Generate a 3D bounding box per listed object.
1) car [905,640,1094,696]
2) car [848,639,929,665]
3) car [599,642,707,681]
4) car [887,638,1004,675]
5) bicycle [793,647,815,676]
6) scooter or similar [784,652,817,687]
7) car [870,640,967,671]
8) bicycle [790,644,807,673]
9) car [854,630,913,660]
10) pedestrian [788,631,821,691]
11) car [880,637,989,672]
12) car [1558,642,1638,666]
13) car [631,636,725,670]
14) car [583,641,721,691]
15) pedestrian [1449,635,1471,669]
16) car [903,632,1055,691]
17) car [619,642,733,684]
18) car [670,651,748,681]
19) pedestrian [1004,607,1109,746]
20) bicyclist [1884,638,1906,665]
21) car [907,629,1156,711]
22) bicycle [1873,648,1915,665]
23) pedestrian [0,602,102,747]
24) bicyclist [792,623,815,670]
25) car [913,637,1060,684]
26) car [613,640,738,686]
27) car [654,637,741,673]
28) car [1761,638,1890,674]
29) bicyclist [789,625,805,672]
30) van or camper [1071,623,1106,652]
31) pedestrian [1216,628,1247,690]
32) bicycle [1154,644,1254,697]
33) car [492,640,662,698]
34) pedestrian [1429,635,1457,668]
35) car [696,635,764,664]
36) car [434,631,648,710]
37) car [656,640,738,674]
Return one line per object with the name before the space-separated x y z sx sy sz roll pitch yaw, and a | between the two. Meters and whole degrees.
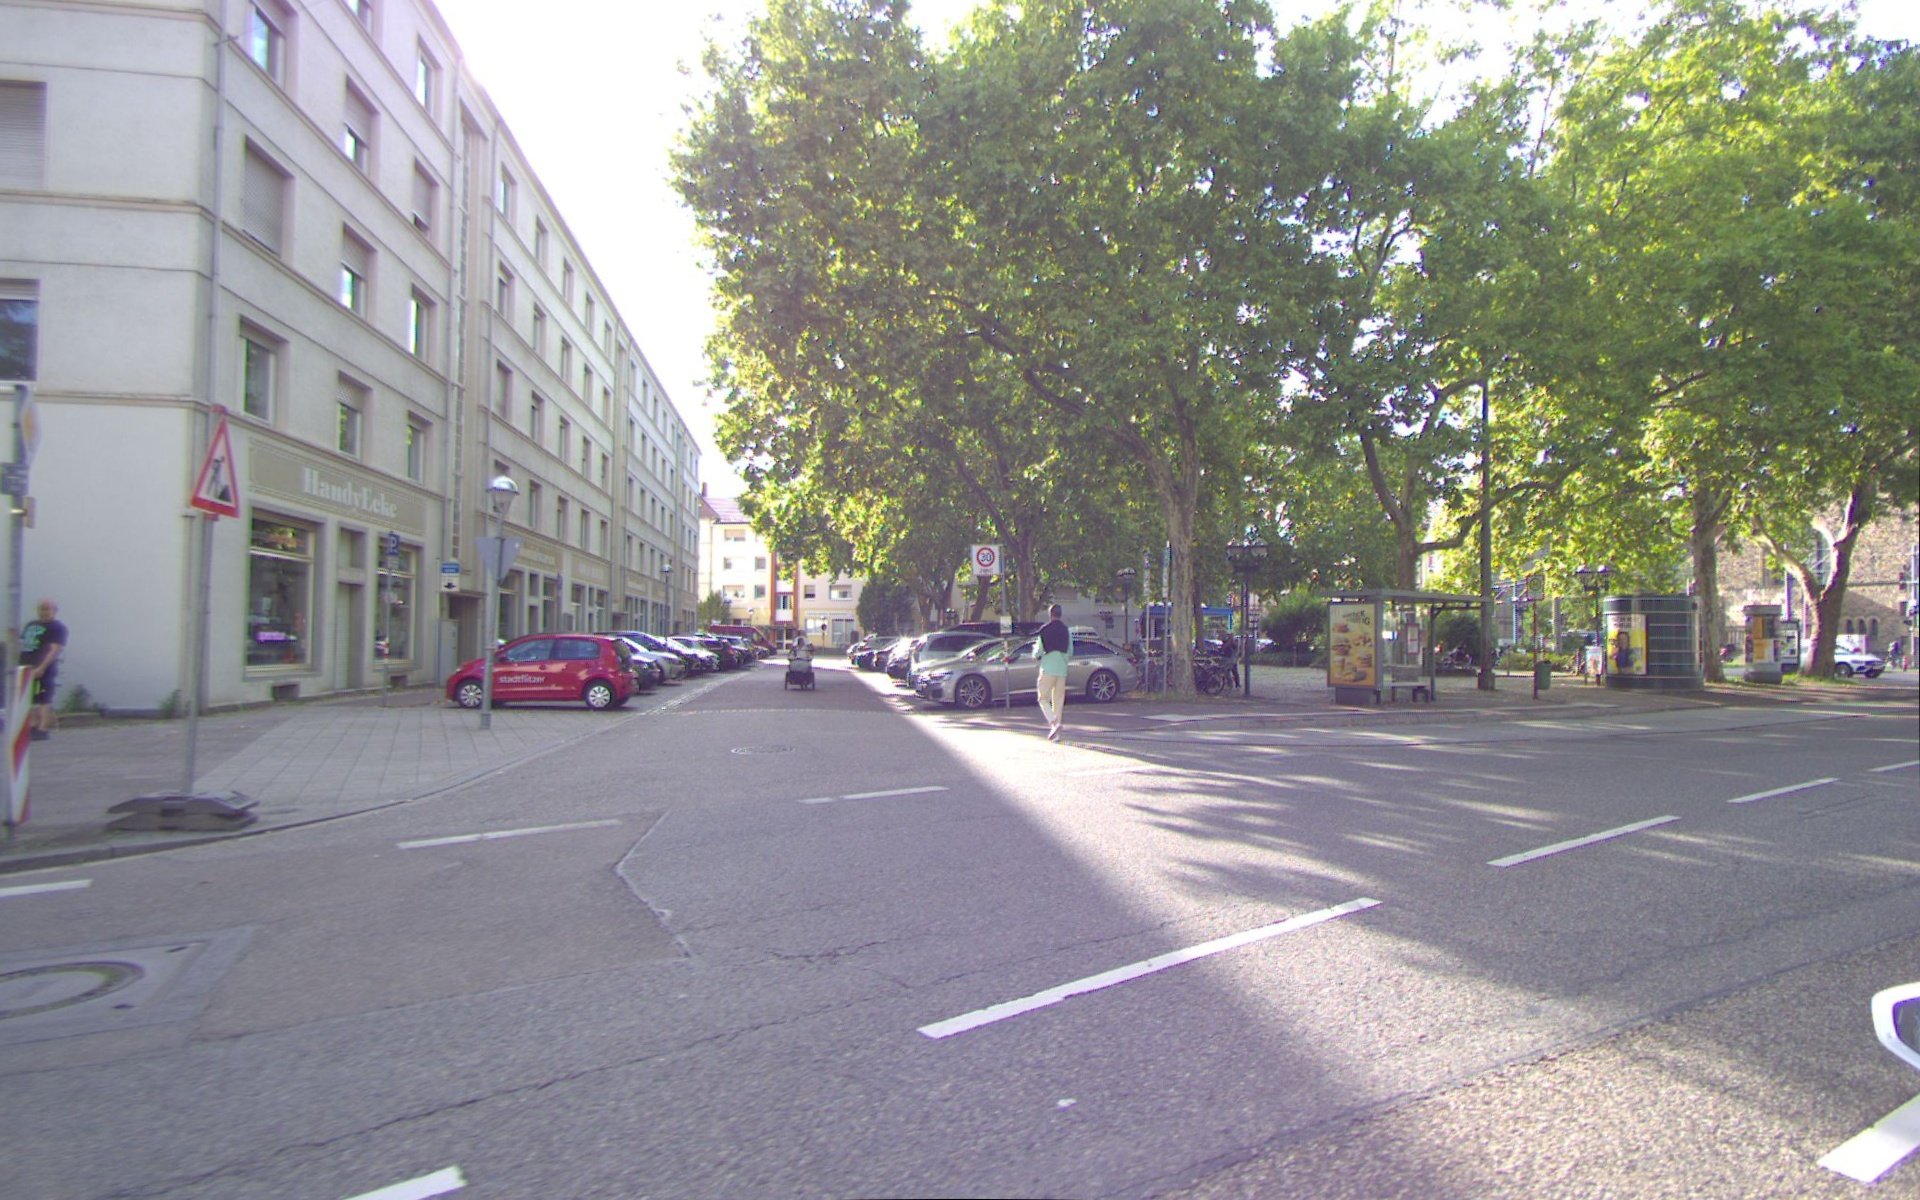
car | 1.006 1.747 26.415 4.751 1.396 1.669 1 -2 -10
car | -3.948 2.830 55.303 4.309 1.396 1.857 1 -2 -10
car | -10.792 2.167 35.547 3.497 1.321 1.648 1 -2 -12
car | -0.589 2.196 39.120 4.309 1.396 1.857 1 -2 -10
bicycle | -5.755 2.260 37.077 0.749 1.007 1.924 1 -2 -8
scooter or similar | -4.334 1.887 27.383 0.793 0.935 1.014 0 -2 -4
car | -1.956 2.549 46.658 4.309 1.396 1.857 1 -2 -10
bicycle | -6.663 2.418 41.551 0.629 1.146 1.924 0 -2 -8
car | -5.218 3.065 68.229 3.925 1.868 1.998 2 0 -7
pedestrian | -4.441 1.724 28.787 0.800 1.676 1.076 0 -2 -3
car | -1.085 2.243 41.472 4.309 1.396 1.857 1 -2 -10
car | 41.071 3.458 64.771 1.865 1.498 4.252 1 -2 -12
car | -11.280 2.111 40.342 3.497 1.321 1.648 1 -2 -12
car | -8.471 1.801 27.913 3.497 1.321 1.648 1 -2 -12
pedestrian | 20.070 2.069 40.320 0.711 1.305 0.816 2 0 33
car | 0.519 1.774 29.213 4.200 1.638 1.681 1 -2 -10
car | -9.303 2.042 33.132 3.497 1.321 1.648 1 -2 -12
car | -11.820 3.107 47.553 3.497 1.321 1.648 1 -2 -12
pedestrian | 1.304 0.999 13.595 0.913 1.777 1.063 2 -1 -45
bicyclist | 58.468 3.194 62.830 0.705 1.684 0.726 0 -2 4
car | 1.509 1.458 21.671 4.895 1.606 2.232 1 -2 -18
bicycle | 58.417 3.539 62.837 1.886 0.993 0.638 0 -2 9
pedestrian | -10.593 0.844 11.638 0.720 1.599 0.732 -1 -2 26
bicyclist | -5.782 1.716 37.224 0.799 1.714 1.112 1 -2 -8
car | 0.792 1.861 31.427 4.309 1.396 1.857 1 -2 -10
car | -8.459 1.861 30.135 3.497 1.321 1.648 1 -2 -12
car | -11.161 2.344 42.870 3.497 1.492 1.648 1 -2 -12
car | 43.530 2.797 50.684 1.982 1.705 4.711 1 -2 -12
bicyclist | -6.753 1.995 41.688 0.626 1.920 0.772 1 -2 -8
van or camper | 10.898 3.205 85.530 2.071 2.359 4.490 0 -2 -5
pedestrian | 7.749 1.668 28.660 0.698 1.738 0.498 1 -2 -31
bicycle | 6.126 1.763 25.305 2.064 1.225 1.392 3 -2 -9
car | -9.493 1.702 25.099 3.636 1.384 1.595 1 -2 -5
pedestrian | 19.809 2.105 41.181 0.709 1.305 0.818 2 0 1
car | -12.245 2.635 53.605 3.497 1.491 1.648 1 -2 -12
car | -8.281 1.390 20.115 3.638 1.497 1.594 1 -2 -8
car | -11.751 2.528 45.067 3.497 1.463 1.648 1 -2 -12
